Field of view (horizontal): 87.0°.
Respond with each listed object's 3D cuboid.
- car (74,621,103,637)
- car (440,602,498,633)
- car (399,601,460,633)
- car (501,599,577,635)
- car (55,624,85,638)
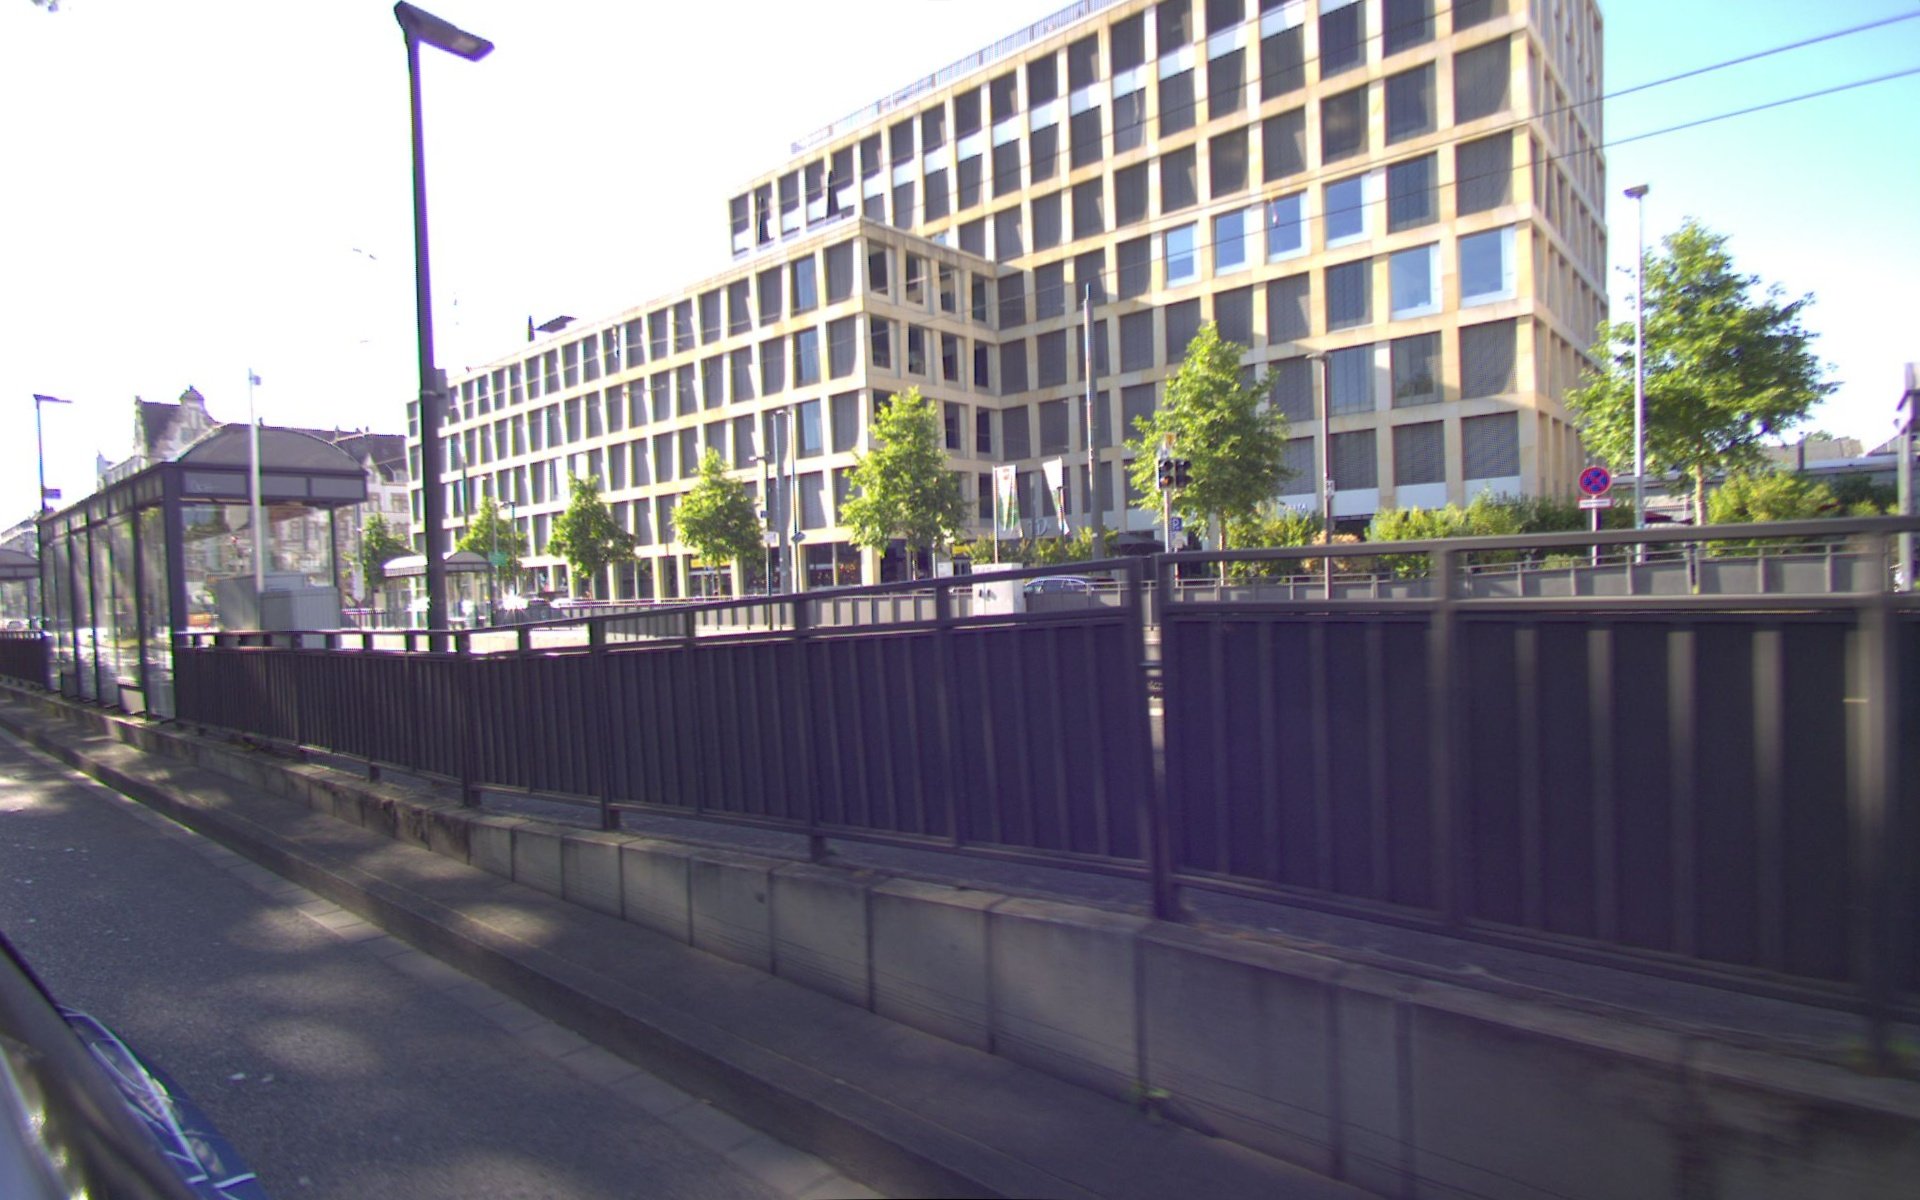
[{"bbox_3d":[-97.289,3.207,112.987,3.996,1.682,1.759,-2,1,39],"label":"car"},{"bbox_3d":[-27.535,0.990,56.727,3.649,1.573,1.627,-2,1,42],"label":"car"},{"bbox_3d":[-31.848,1.033,60.687,3.999,1.782,1.898,-2,1,42],"label":"car"},{"bbox_3d":[-21.195,0.868,50.905,3.999,1.675,1.973,-2,1,42],"label":"car"},{"bbox_3d":[-105.357,3.672,119.773,3.992,1.536,1.722,-2,2,36],"label":"car"}]
